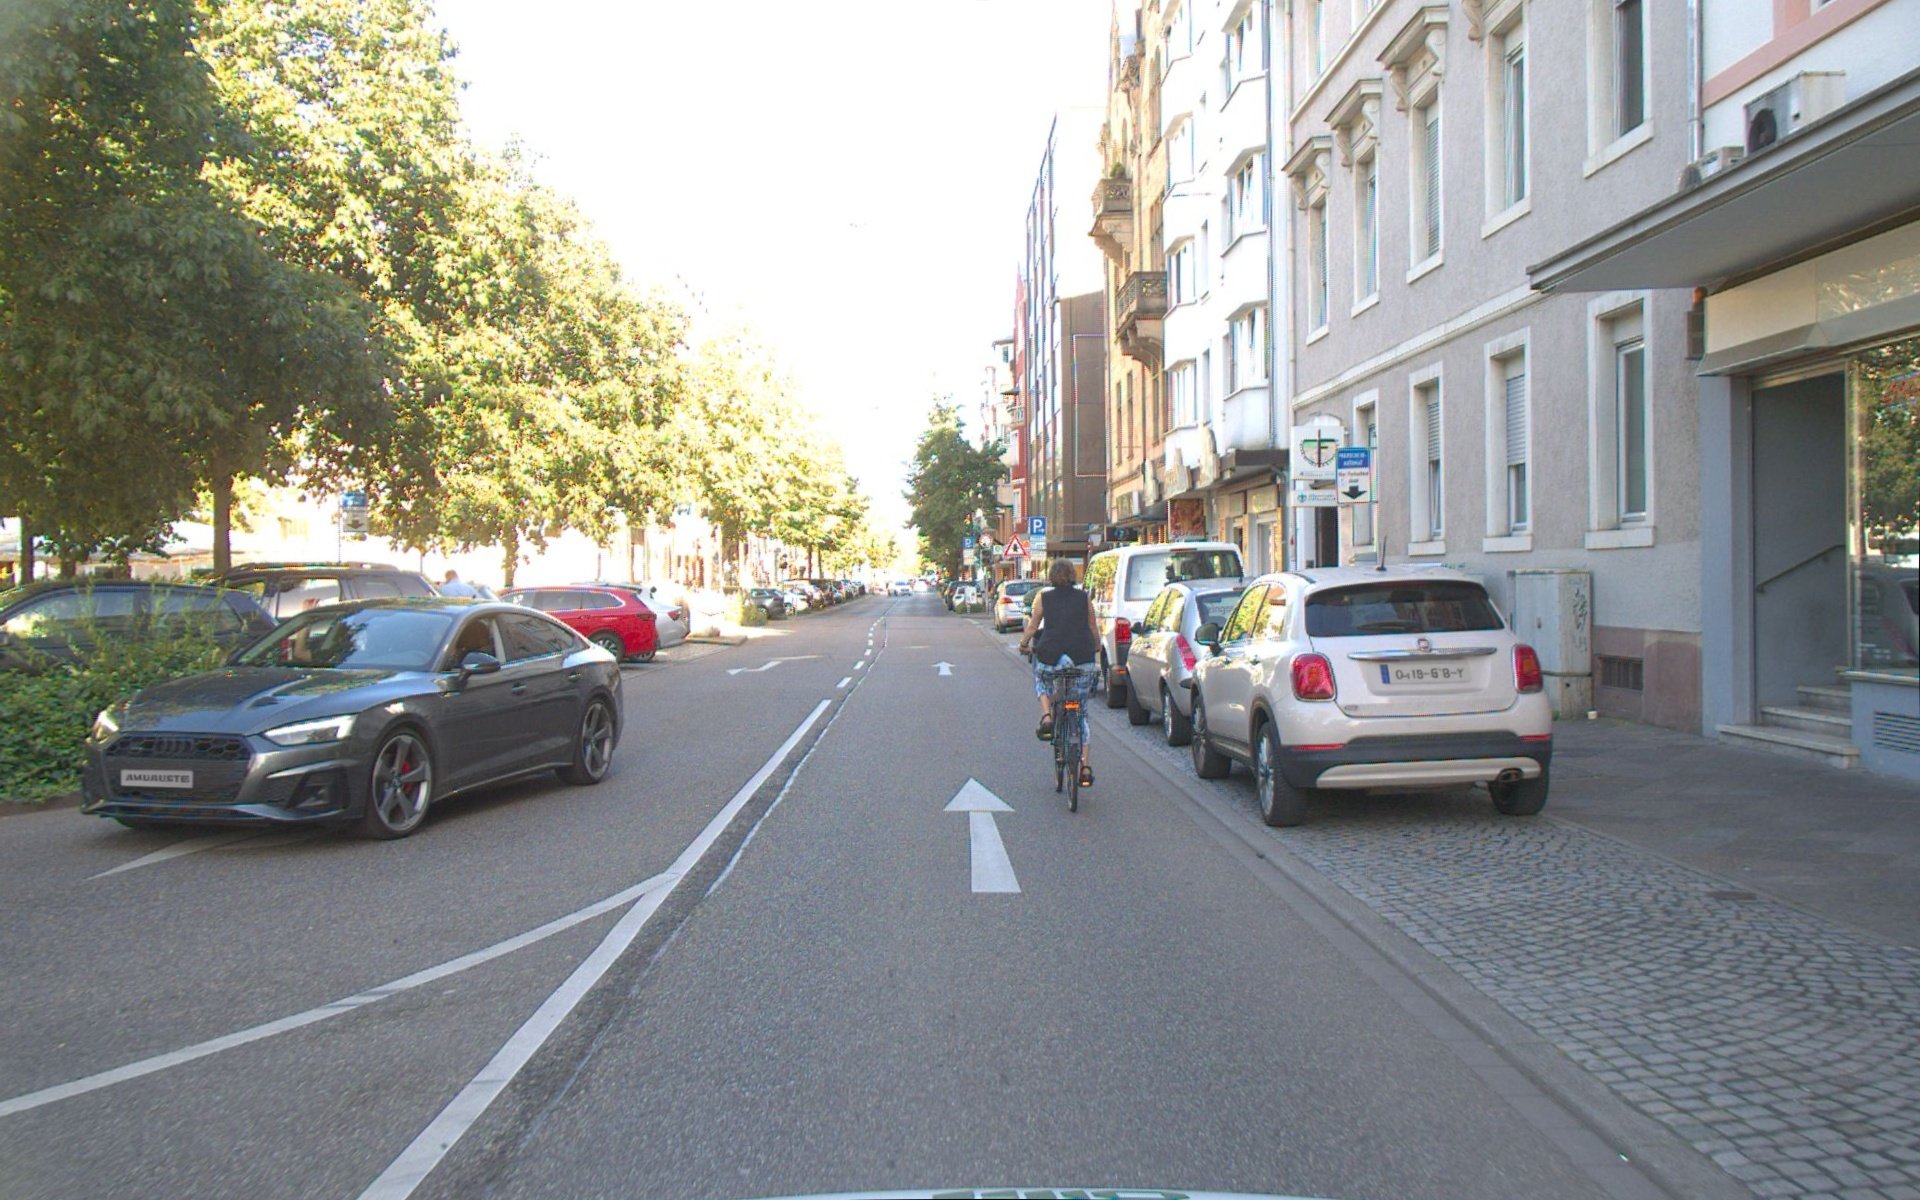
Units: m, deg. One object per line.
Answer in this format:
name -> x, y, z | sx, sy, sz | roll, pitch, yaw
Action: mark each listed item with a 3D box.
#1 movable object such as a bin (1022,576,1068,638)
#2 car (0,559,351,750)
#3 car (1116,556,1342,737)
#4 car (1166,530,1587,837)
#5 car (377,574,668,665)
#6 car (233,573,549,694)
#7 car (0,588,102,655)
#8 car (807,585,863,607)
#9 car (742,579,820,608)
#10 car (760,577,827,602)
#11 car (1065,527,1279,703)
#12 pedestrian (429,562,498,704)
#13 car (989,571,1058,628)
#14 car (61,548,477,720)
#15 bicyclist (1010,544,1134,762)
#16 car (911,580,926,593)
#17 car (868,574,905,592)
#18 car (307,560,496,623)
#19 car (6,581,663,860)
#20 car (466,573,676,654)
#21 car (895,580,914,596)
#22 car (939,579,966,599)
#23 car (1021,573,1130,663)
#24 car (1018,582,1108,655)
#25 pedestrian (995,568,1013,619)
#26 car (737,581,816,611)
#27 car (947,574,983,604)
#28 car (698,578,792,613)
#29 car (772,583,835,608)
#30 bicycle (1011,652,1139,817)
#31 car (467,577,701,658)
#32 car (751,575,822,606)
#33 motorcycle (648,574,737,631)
movable object such as a bin -> 2.170, 0.166, 42.131 | 1.051, 1.482, 1.493 | -3, 1, 4
car -> -7.468, 0.433, 14.070 | 3.956, 1.495, 1.851 | 1, -1, -36
car -> 2.629, 0.433, 16.959 | 1.665, 1.632, 3.756 | -1, 0, -1
car -> 2.733, 0.501, 12.092 | 1.710, 1.769, 4.959 | 1, 0, -2
car -> -7.723, 0.356, 29.266 | 4.773, 1.514, 1.751 | 1, -1, -25
car -> -7.991, 0.465, 23.515 | 3.909, 1.626, 1.748 | 1, 0, -5
car -> -26.006, 0.588, 45.775 | 3.856, 1.802, 1.966 | 1, -1, -25
car -> -9.398, -0.272, 124.415 | 3.904, 1.534, 2.001 | 2, 0, 2
car -> -9.553, -0.346, 88.478 | 3.905, 1.534, 2.000 | 1, 0, -1
car -> -10.262, -0.638, 102.184 | 3.905, 1.534, 1.894 | 1, 0, -1
car -> 2.656, 0.134, 21.963 | 1.954, 2.039, 5.115 | -1, 1, -3
pedestrian -> -5.984, 0.396, 19.948 | 0.686, 1.678, 0.645 | 1, -1, -8
car -> 1.977, -0.009, 52.769 | 1.860, 1.704, 4.823 | 1, 0, -2
car -> -7.273, 0.344, 17.856 | 3.924, 1.697, 1.990 | 1, 1, -18
bicyclist -> 0.777, 0.364, 11.795 | 0.770, 1.478, 1.095 | 1, -1, -2
car -> -5.208, -1.647, 207.379 | 1.832, 1.583, 3.999 | 1, 0, -1
car -> -8.329, -1.891, 188.377 | 3.902, 2.049, 2.002 | 0, 0, 8
car -> -17.028, -0.233, 50.482 | 5.203, 1.831, 2.143 | 1, -1, -28
car -> -3.790, 0.643, 11.166 | 1.870, 1.441, 4.814 | 0, 0, 11
car -> -8.194, 0.296, 34.917 | 3.950, 1.614, 1.810 | 1, -1, -33
car -> -5.912, -1.256, 175.952 | 1.953, 1.583, 3.999 | 1, 0, -1
car -> -0.618, -0.872, 126.216 | 1.953, 1.478, 3.999 | 0, 0, -2
car -> 2.154, 0.336, 31.666 | 1.684, 1.541, 3.581 | -3, 0, -2
car -> 2.161, 0.385, 35.605 | 1.644, 1.473, 3.784 | 1, 0, -1
pedestrian -> 1.533, -0.217, 57.281 | 0.601, 1.765, 0.634 | 0, -1, 0
car -> -9.536, -0.208, 86.083 | 3.905, 1.534, 2.000 | 1, 0, -1
car -> 0.309, -0.595, 93.859 | 1.952, 1.646, 4.010 | 1, 0, 1
car -> -9.505, -0.194, 73.415 | 3.905, 1.534, 2.000 | 1, 0, -1
car -> -10.065, -0.276, 106.811 | 3.906, 1.534, 1.999 | 1, 0, -2
bicycle -> 0.771, 0.898, 11.845 | 0.639, 0.975, 2.697 | 1, 0, -2
car -> -7.369, 0.354, 32.498 | 4.175, 1.503, 1.719 | 1, -1, -29
car -> -10.038, -0.543, 95.984 | 3.905, 1.703, 2.089 | 1, 0, -1
motorcycle -> -8.088, 0.076, 50.053 | 2.420, 1.632, 1.000 | -1, 0, 17
